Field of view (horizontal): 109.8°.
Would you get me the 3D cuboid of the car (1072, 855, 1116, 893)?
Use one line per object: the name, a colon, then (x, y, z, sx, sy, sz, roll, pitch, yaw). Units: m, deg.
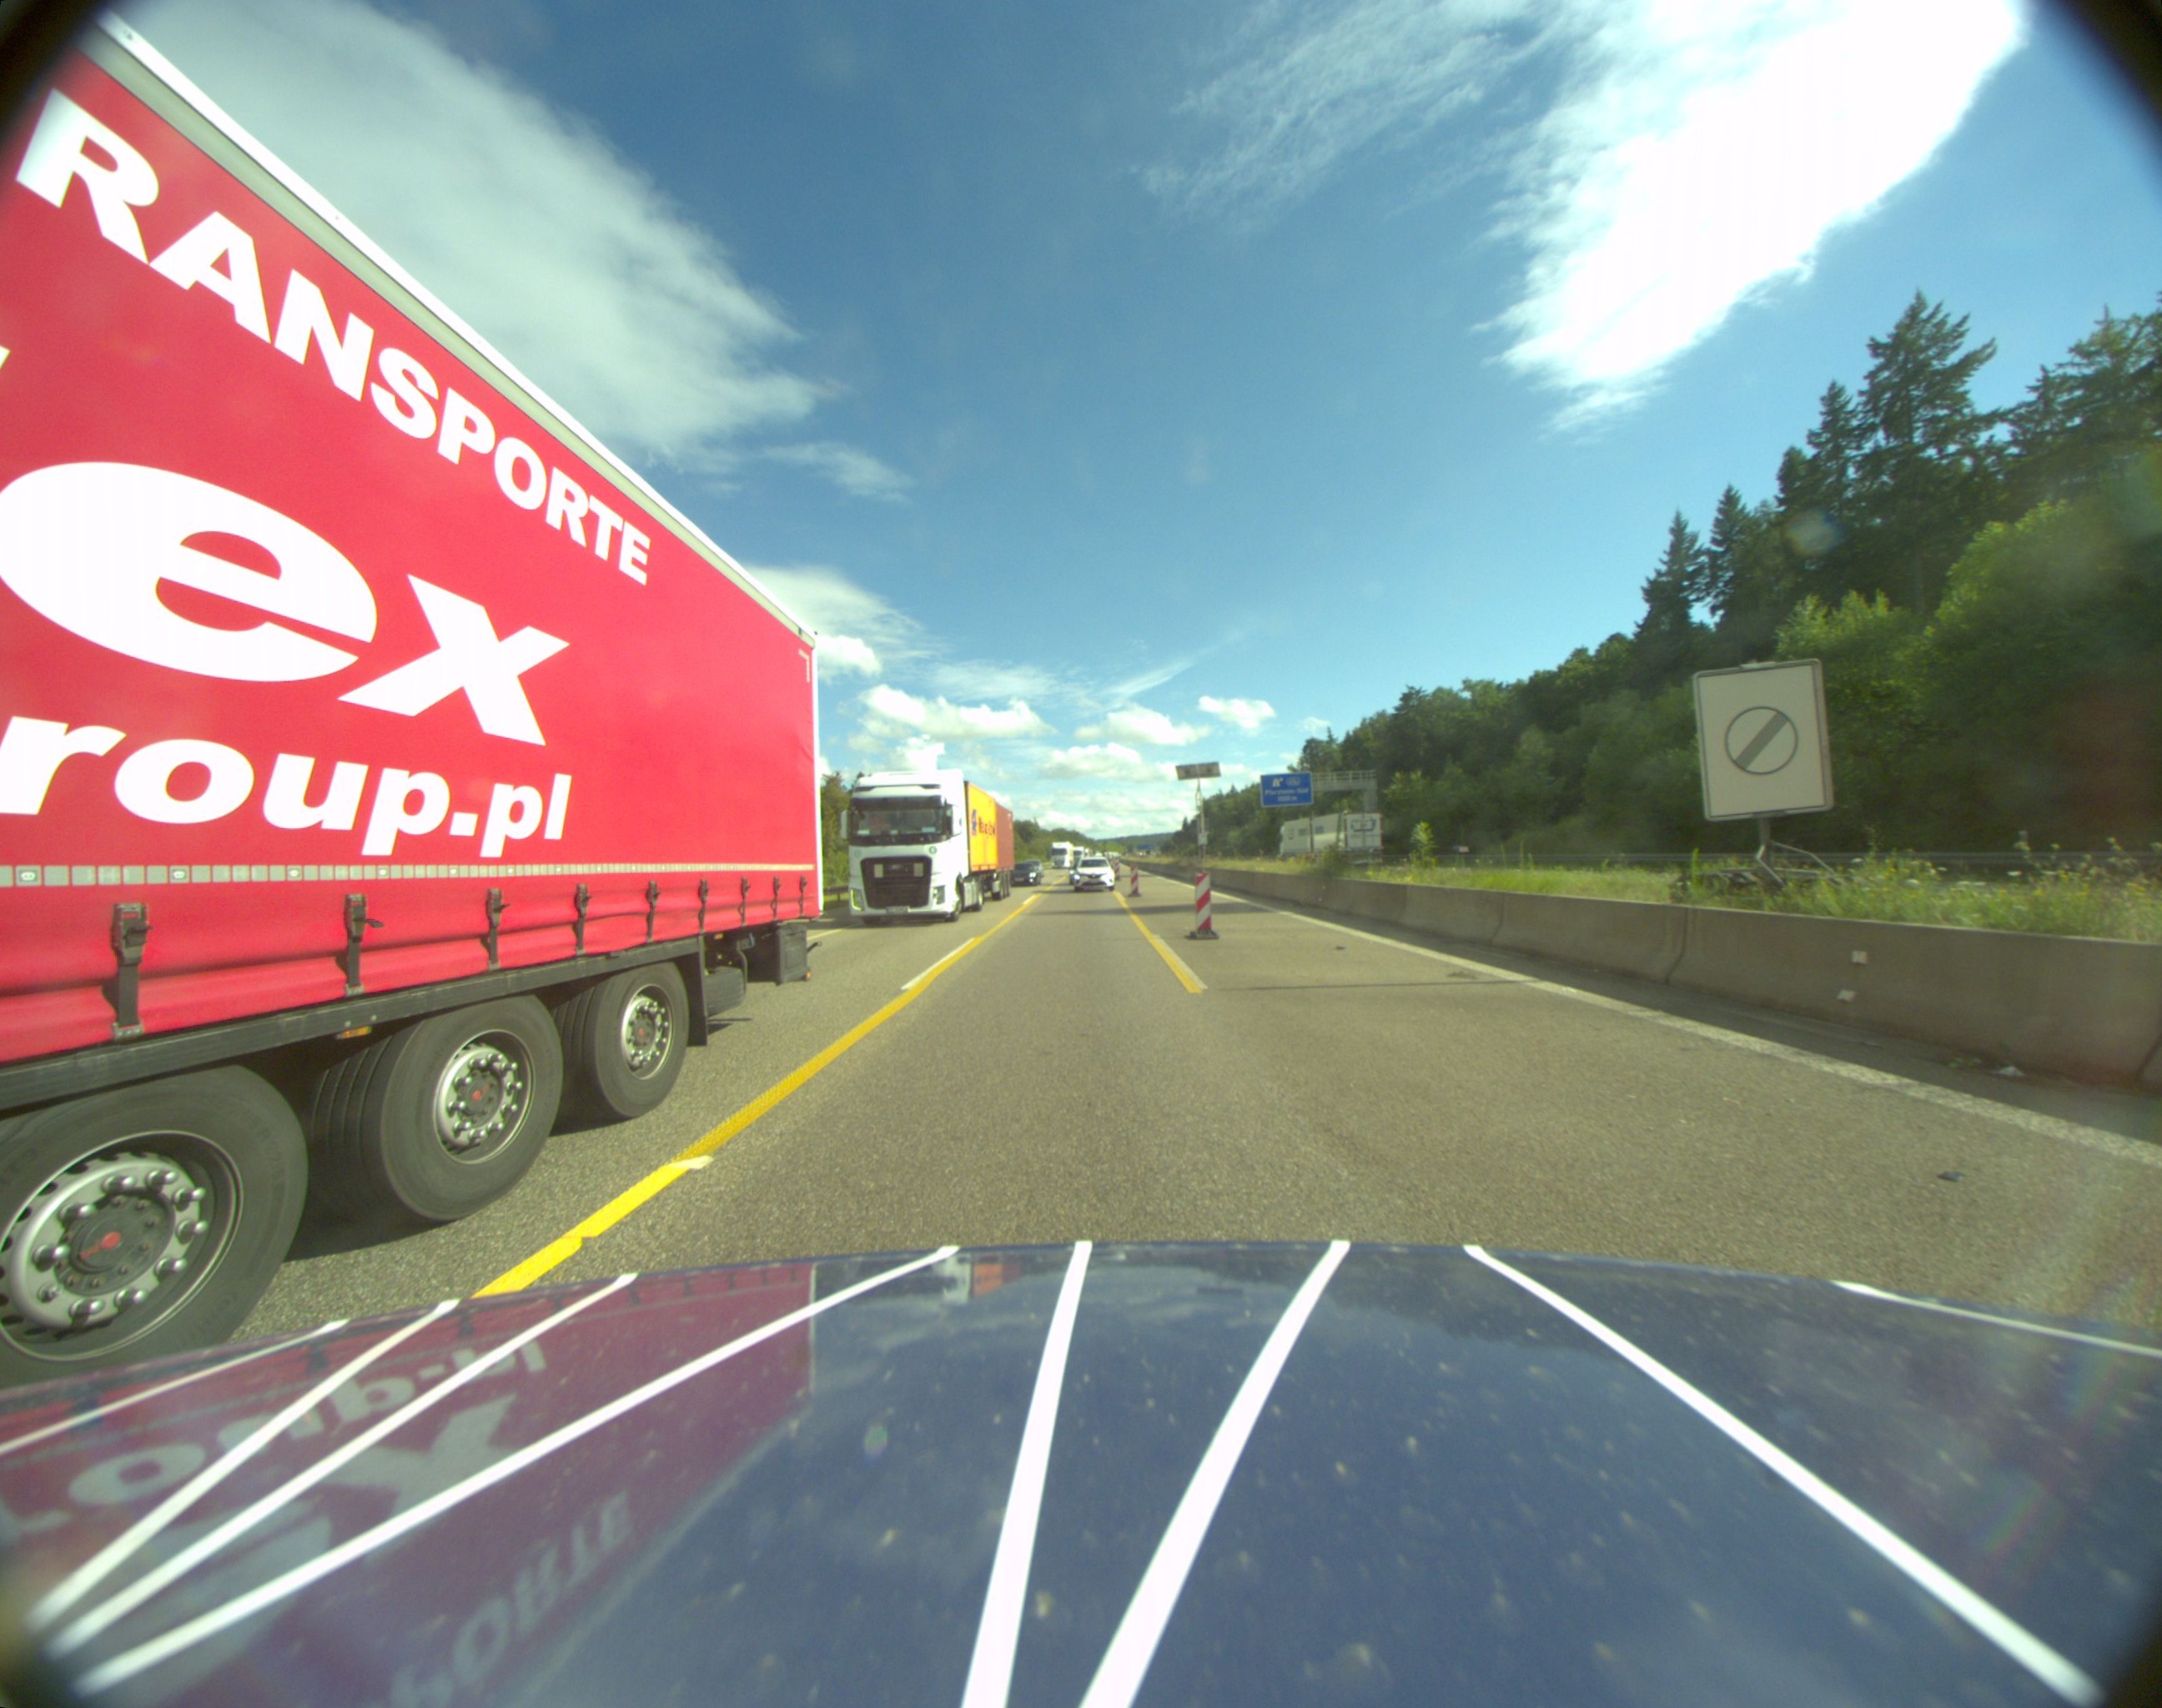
car: (0.557, 0.876, 34.924, 1.840, 1.528, 3.882, -2, 1, -1)

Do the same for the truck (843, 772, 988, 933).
truck: (-4.296, -0.047, 20.974, 2.501, 3.759, 5.789, -2, 1, 1)

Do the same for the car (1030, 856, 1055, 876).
car: (-3.232, 0.995, 64.118, 1.762, 1.471, 3.968, -2, 1, 1)

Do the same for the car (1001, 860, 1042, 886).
car: (-3.464, 1.103, 45.025, 1.933, 1.342, 4.477, -2, 0, 1)

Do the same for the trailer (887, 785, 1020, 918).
trailer: (-4.162, -0.081, 27.993, 2.477, 3.753, 12.136, -2, 0, 1)

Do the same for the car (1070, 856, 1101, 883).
car: (0.296, 0.873, 45.127, 1.692, 1.471, 3.754, -2, 1, 1)

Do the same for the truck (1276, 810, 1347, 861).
truck: (19.728, -1.534, 65.938, 2.789, 3.962, 10.861, -2, 1, 0)

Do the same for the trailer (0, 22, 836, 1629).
trailer: (-4.002, -0.072, 1.229, 2.707, 3.946, 13.416, -2, 0, 0)

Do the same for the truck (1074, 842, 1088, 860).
truck: (-0.033, -0.696, 174.407, 2.640, 4.092, 8.197, -2, 0, 3)

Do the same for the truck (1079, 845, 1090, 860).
truck: (0.974, -0.391, 208.161, 2.641, 4.092, 8.196, -3, 0, 1)

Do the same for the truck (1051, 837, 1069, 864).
truck: (-3.262, -0.505, 119.210, 2.641, 4.092, 8.194, -2, 0, -1)

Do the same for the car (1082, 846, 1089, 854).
car: (1.306, -1.129, 212.305, 1.998, 2.188, 4.000, -2, 1, 1)

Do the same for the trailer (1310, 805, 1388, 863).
trailer: (19.615, -1.432, 56.245, 2.798, 3.900, 8.487, -2, 1, 1)
